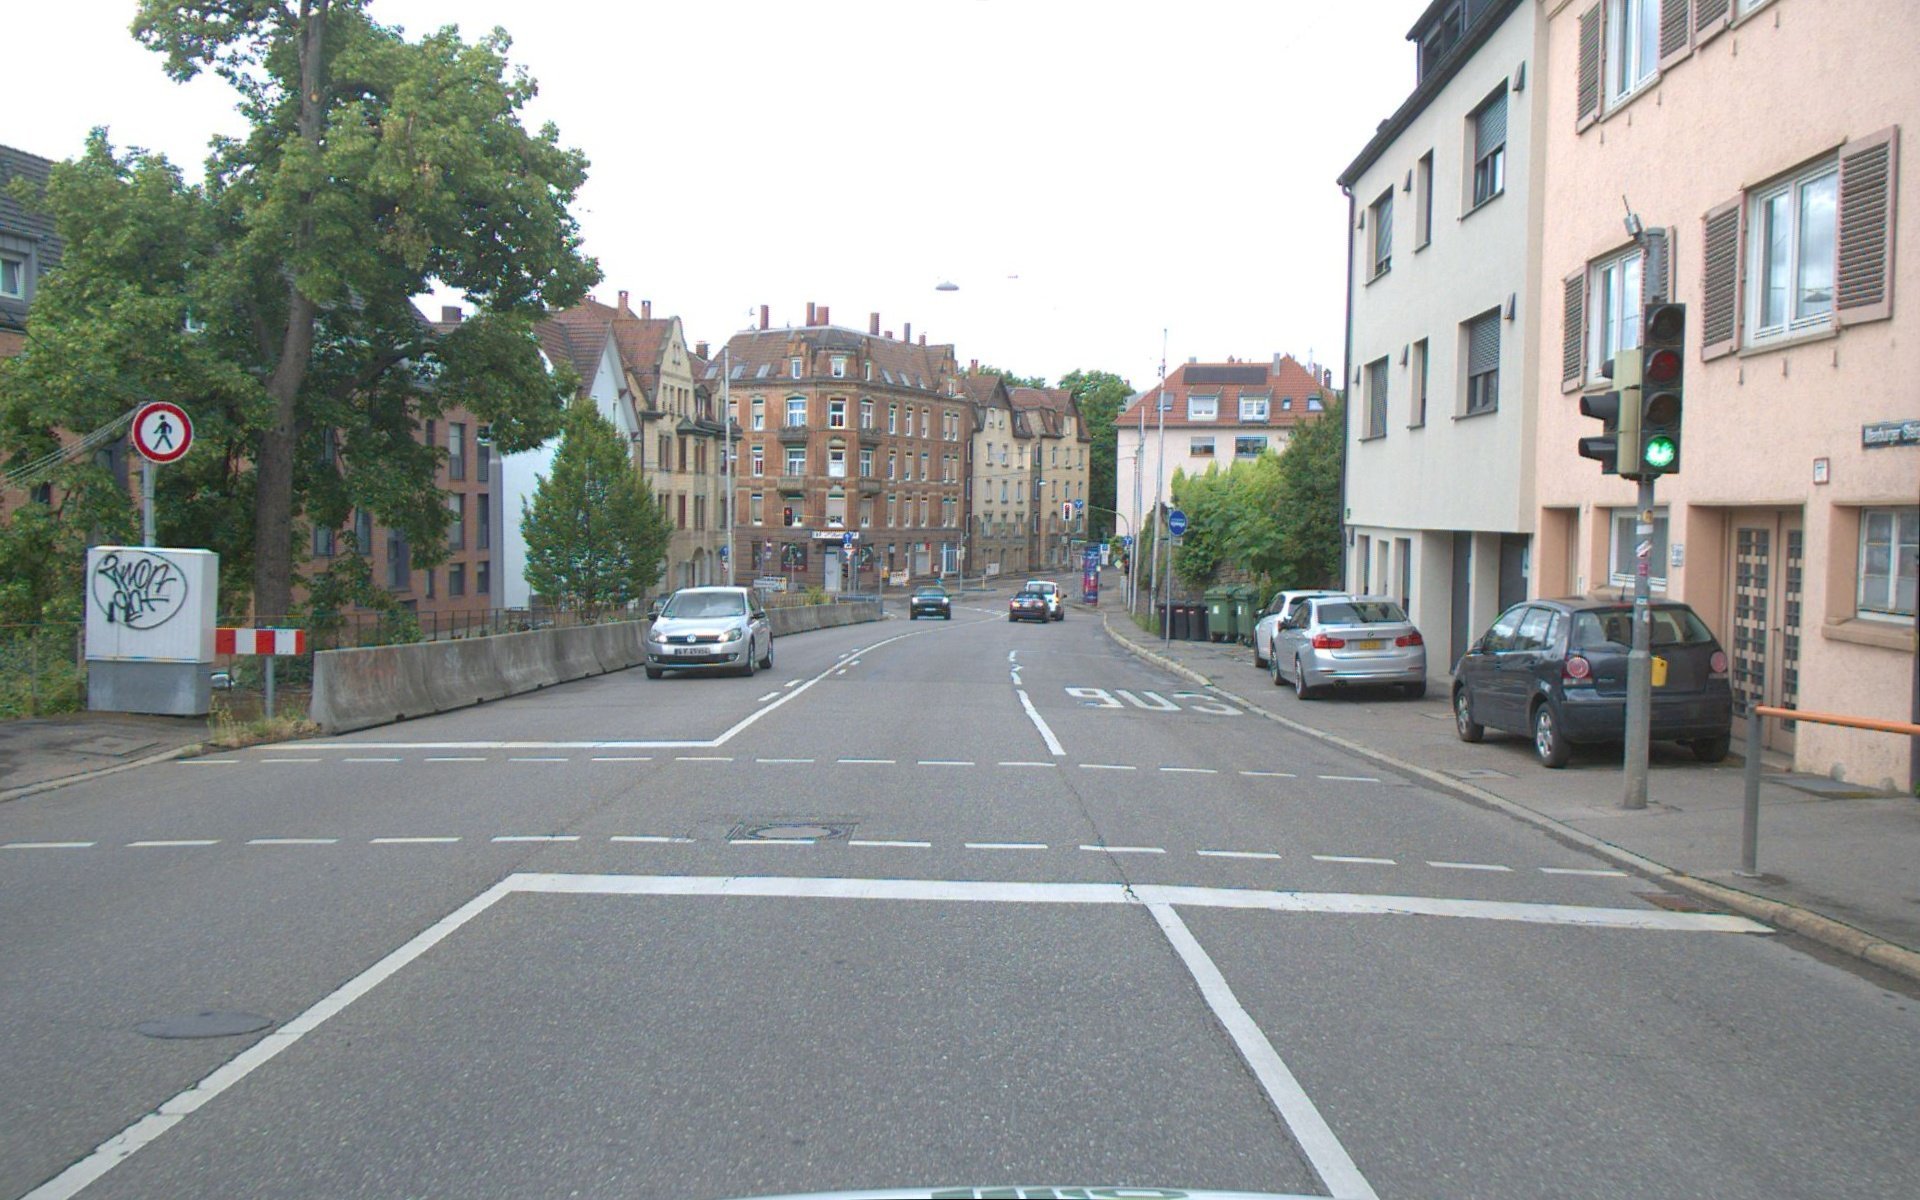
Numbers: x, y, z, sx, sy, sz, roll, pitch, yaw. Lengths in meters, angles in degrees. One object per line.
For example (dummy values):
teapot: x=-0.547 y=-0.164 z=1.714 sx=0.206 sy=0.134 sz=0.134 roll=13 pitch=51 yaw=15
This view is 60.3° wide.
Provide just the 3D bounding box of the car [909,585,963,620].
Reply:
car: x=-1.126 y=0.105 z=79.421 sx=1.940 sy=1.602 sz=4.379 roll=-1 pitch=0 yaw=8

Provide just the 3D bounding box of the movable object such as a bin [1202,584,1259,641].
movable object such as a bin: x=7.158 y=0.320 z=43.835 sx=1.030 sy=1.470 sz=1.413 roll=1 pitch=0 yaw=-15

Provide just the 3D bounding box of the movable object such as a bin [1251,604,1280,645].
movable object such as a bin: x=7.385 y=0.586 z=39.945 sx=0.582 sy=0.958 sz=0.640 roll=1 pitch=0 yaw=1

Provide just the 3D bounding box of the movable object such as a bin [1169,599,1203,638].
movable object such as a bin: x=6.299 y=0.515 z=46.162 sx=0.730 sy=1.077 sz=0.677 roll=1 pitch=0 yaw=-15

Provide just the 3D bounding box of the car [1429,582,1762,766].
car: x=5.971 y=0.633 z=16.062 sx=1.647 sy=1.476 sz=4.000 roll=-3 pitch=0 yaw=0

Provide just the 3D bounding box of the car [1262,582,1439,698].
car: x=5.759 y=0.521 z=24.913 sx=1.757 sy=1.476 sz=4.721 roll=-3 pitch=1 yaw=3

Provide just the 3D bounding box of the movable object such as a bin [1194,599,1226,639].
movable object such as a bin: x=6.780 y=0.506 z=44.791 sx=0.697 sy=1.077 sz=0.545 roll=1 pitch=0 yaw=-15

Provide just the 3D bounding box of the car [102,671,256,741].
car: x=-20.467 y=2.749 z=43.539 sx=1.756 sy=1.536 sz=4.003 roll=-1 pitch=0 yaw=8

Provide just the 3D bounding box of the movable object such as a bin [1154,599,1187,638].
movable object such as a bin: x=5.961 y=0.518 z=46.799 sx=0.730 sy=1.077 sz=0.677 roll=1 pitch=0 yaw=-15

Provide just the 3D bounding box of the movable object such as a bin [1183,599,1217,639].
movable object such as a bin: x=6.592 y=0.518 z=45.409 sx=0.730 sy=1.077 sz=0.677 roll=1 pitch=0 yaw=-15

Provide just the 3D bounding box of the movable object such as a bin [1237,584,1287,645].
movable object such as a bin: x=7.459 y=0.349 z=40.914 sx=1.026 sy=1.470 sz=1.205 roll=1 pitch=0 yaw=1

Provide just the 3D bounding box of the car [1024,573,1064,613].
car: x=4.246 y=-0.347 z=83.239 sx=1.869 sy=1.917 sz=4.002 roll=2 pitch=0 yaw=4

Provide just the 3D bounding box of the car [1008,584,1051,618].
car: x=3.212 y=0.016 z=76.240 sx=1.778 sy=1.455 sz=4.002 roll=2 pitch=1 yaw=4

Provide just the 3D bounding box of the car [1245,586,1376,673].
car: x=6.284 y=0.486 z=30.017 sx=1.756 sy=1.448 sz=4.007 roll=-1 pitch=0 yaw=4

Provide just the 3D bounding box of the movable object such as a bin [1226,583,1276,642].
movable object such as a bin: x=7.426 y=0.323 z=42.251 sx=1.026 sy=1.470 sz=1.204 roll=1 pitch=0 yaw=-2

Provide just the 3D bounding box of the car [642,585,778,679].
car: x=-4.162 y=0.483 z=28.113 sx=1.685 sy=1.470 sz=4.158 roll=-1 pitch=0 yaw=0
